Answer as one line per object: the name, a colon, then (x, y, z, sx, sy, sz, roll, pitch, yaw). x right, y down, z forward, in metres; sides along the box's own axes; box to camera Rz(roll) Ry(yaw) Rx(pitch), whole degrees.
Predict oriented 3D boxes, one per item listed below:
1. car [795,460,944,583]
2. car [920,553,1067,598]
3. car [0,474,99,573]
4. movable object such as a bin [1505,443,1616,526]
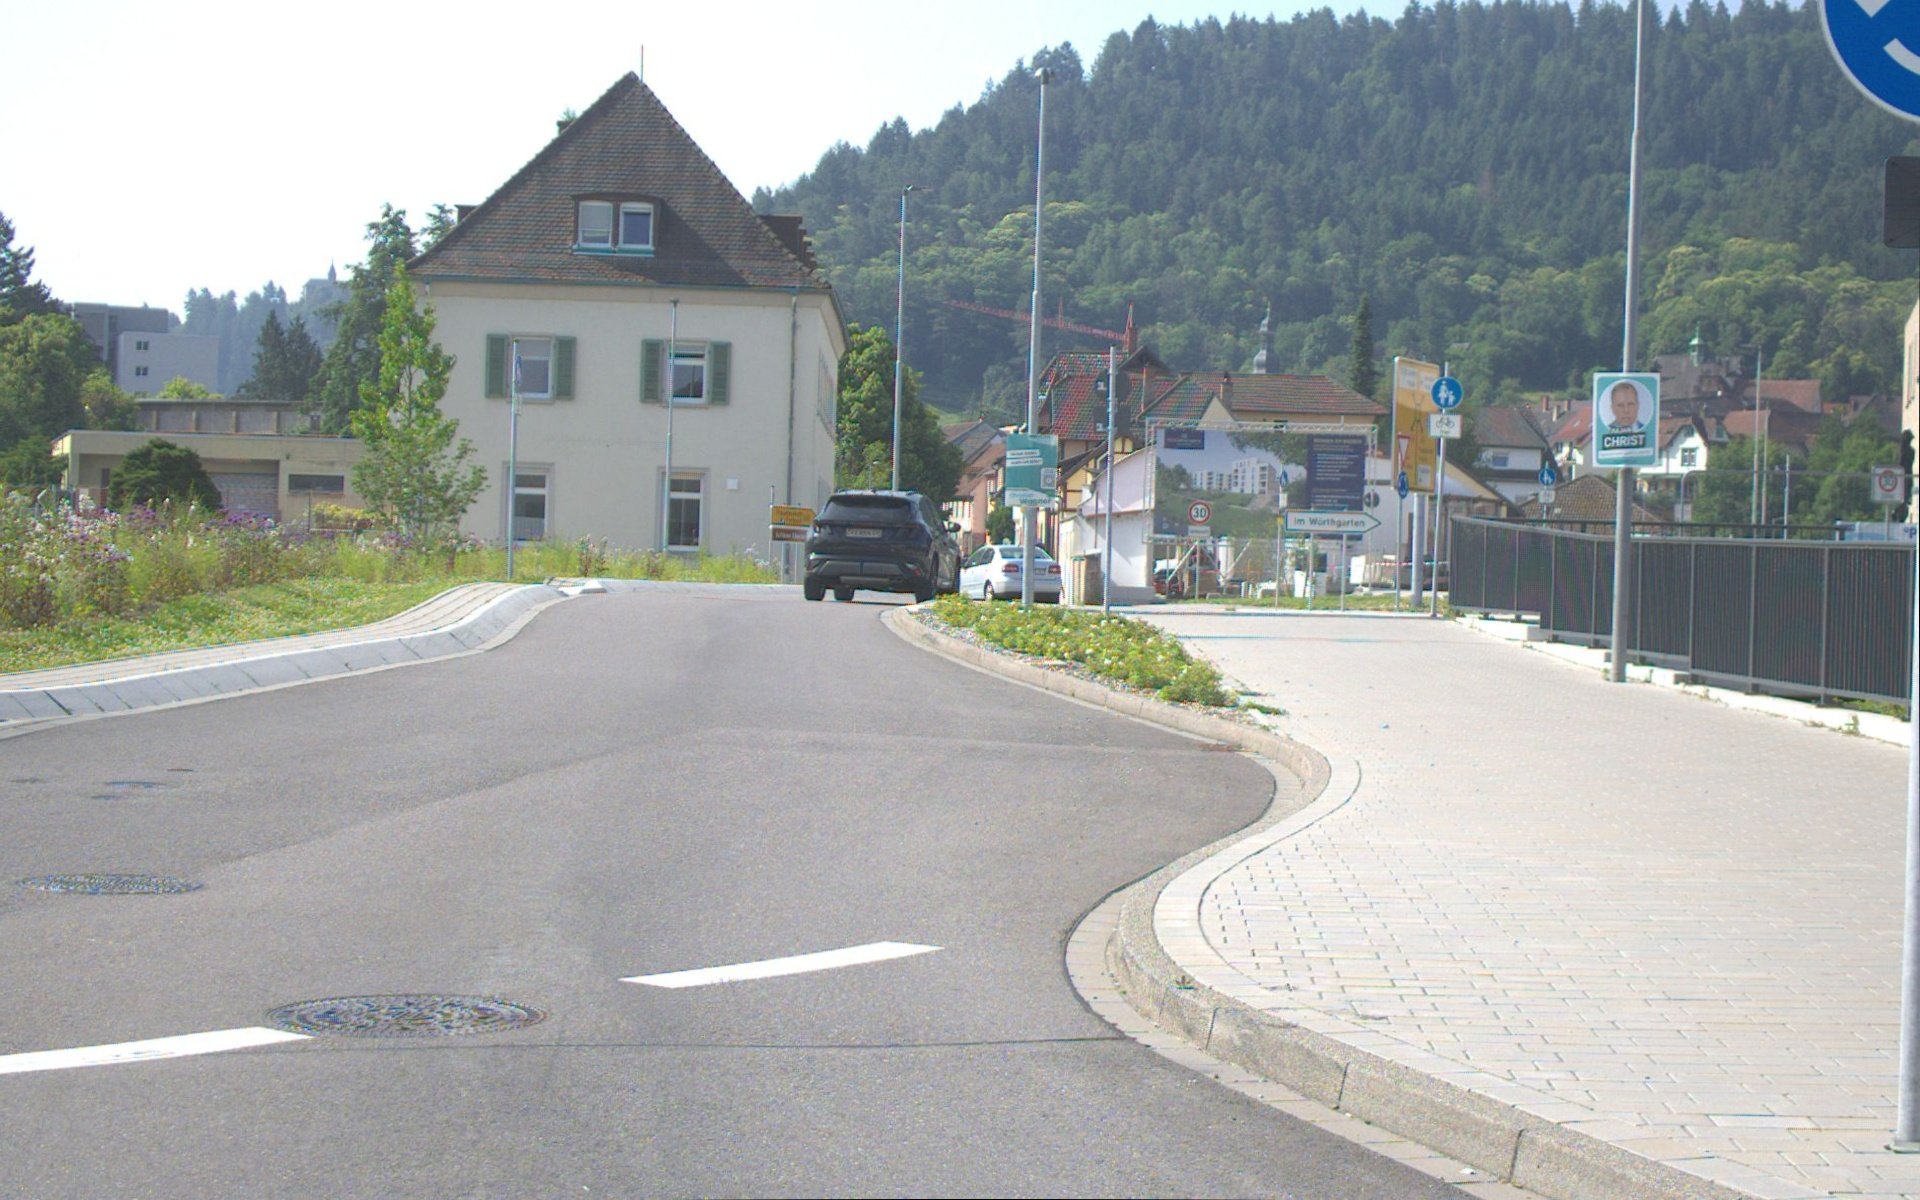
car: (-1.283, -1.109, 50.333, 1.881, 1.678, 4.000, 1, 0, 2)
car: (0.744, -0.565, 77.588, 3.277, 0.961, 1.346, 1, 0, 45)
car: (-19.465, -1.632, 72.431, 1.809, 2.007, 4.001, 1, 1, -3)
movable object such as a bin: (13.880, -2.664, 79.546, 2.444, 1.837, 1.428, 1, 0, 9)
